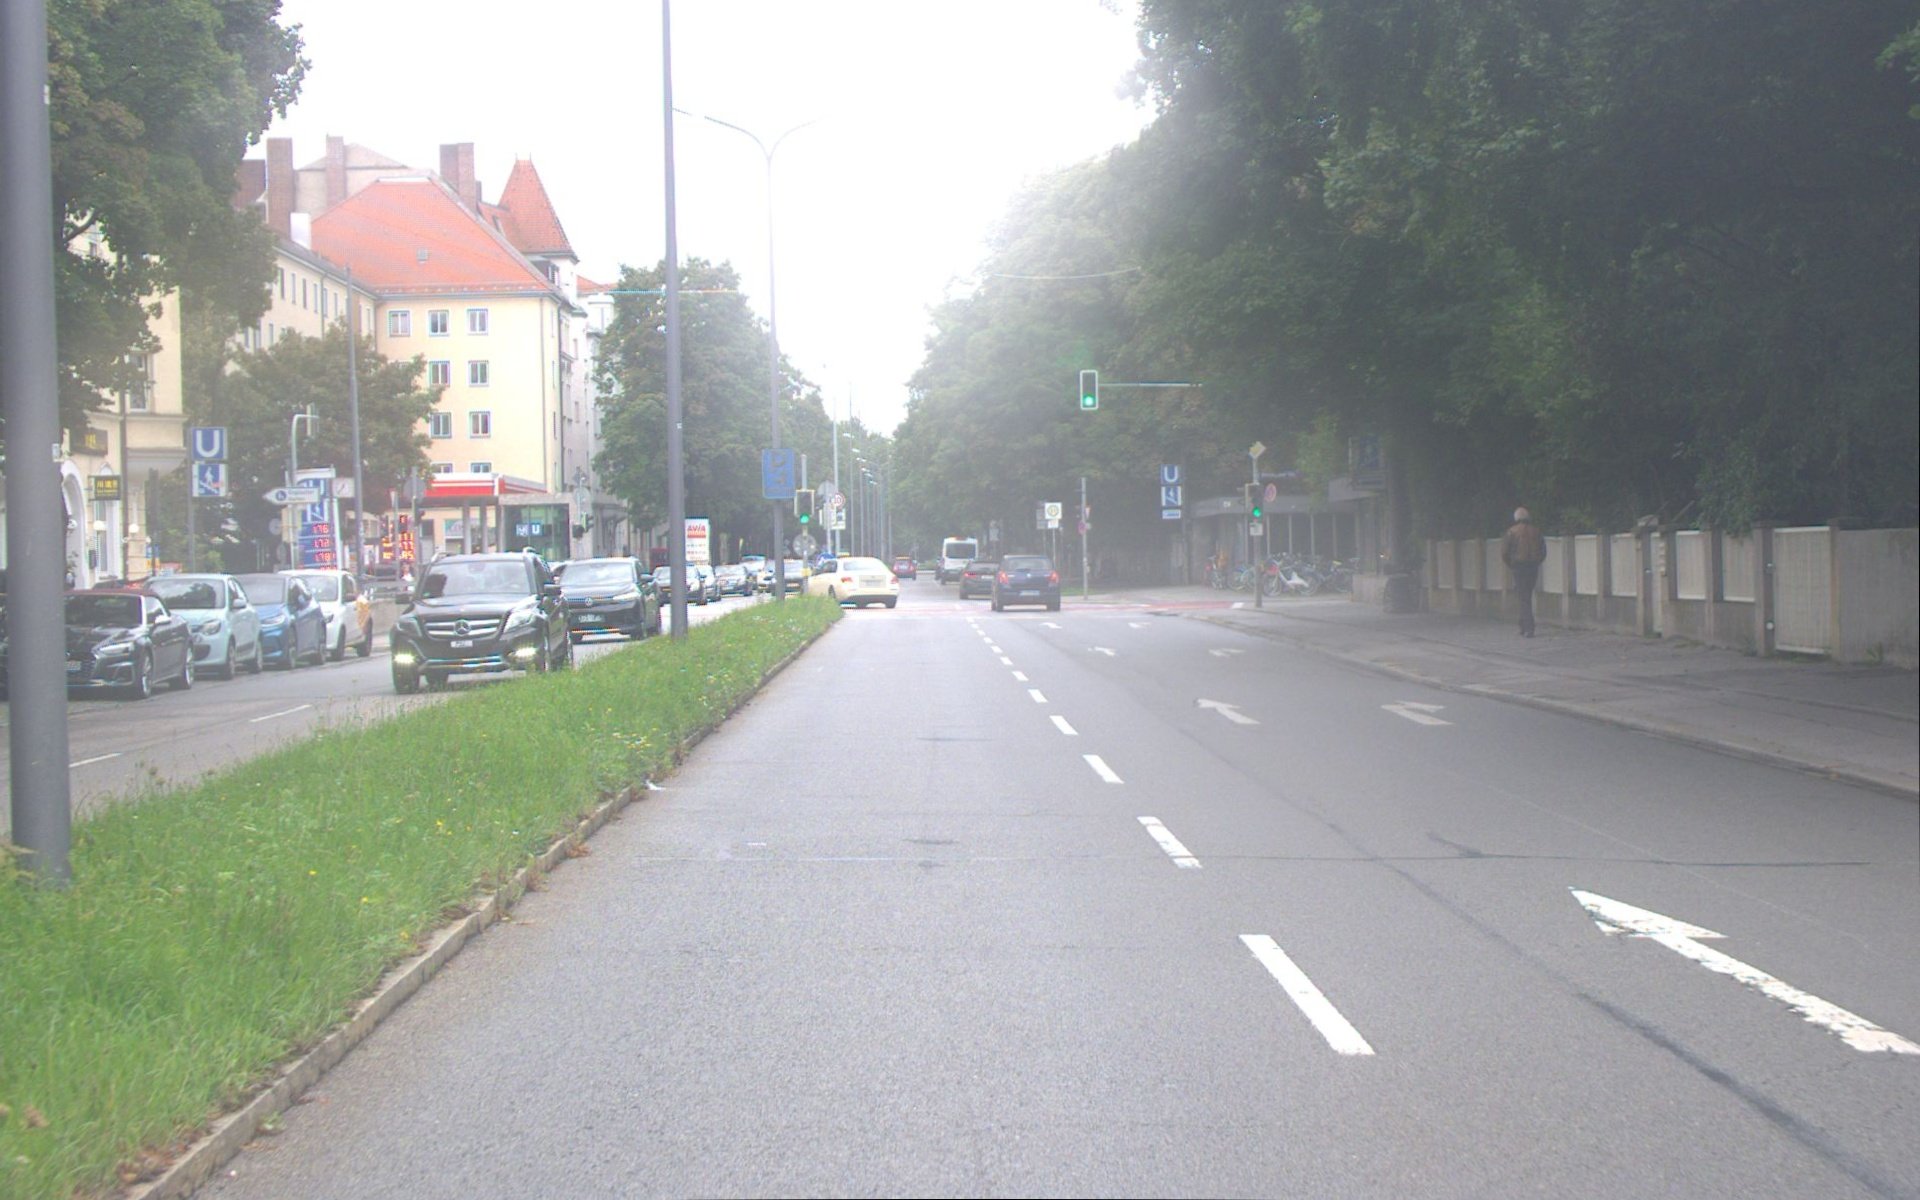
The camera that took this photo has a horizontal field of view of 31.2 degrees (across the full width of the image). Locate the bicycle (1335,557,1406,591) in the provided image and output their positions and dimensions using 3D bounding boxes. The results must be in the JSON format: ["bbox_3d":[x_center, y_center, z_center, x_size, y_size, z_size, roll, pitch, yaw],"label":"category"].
[{"bbox_3d":[12.666,-0.816,106.107,2.143,1.011,0.634,-1,1,8],"label":"bicycle"}]

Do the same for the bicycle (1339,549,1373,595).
[{"bbox_3d":[9.693,-0.677,84.183,0.599,1.117,1.890,-1,0,0],"label":"bicycle"}]

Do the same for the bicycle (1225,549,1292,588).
[{"bbox_3d":[9.696,-1.013,111.660,2.143,1.214,0.603,-1,1,8],"label":"bicycle"}]

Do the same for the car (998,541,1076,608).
[{"bbox_3d":[1.986,-0.697,90.035,1.857,1.678,4.000,-1,1,-1],"label":"car"}]

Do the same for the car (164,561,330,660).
[{"bbox_3d":[-11.499,0.139,55.712,1.810,1.502,4.291,-1,1,-1],"label":"car"}]

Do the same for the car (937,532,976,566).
[{"bbox_3d":[-0.211,-2.739,184.932,1.993,1.750,4.000,-1,1,-1],"label":"car"}]

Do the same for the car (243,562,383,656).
[{"bbox_3d":[-11.384,0.132,60.696,1.649,1.579,3.790,-1,1,1],"label":"car"}]

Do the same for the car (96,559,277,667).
[{"bbox_3d":[-11.505,0.164,51.366,1.810,1.502,3.960,-1,1,-1],"label":"car"}]

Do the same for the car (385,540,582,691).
[{"bbox_3d":[-5.781,0.146,42.146,1.769,1.673,4.369,-3,1,-1],"label":"car"}]

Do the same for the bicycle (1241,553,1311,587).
[{"bbox_3d":[9.917,-0.944,107.892,2.143,1.011,0.603,-1,1,8],"label":"bicycle"}]

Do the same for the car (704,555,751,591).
[{"bbox_3d":[-9.900,-1.156,146.602,1.759,1.455,4.000,-1,1,-1],"label":"car"}]

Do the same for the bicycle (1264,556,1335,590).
[{"bbox_3d":[10.436,-0.837,105.719,2.143,1.011,0.634,-1,1,8],"label":"bicycle"}]

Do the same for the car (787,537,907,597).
[{"bbox_3d":[-3.255,-0.942,97.993,1.778,1.641,4.782,-1,1,-23],"label":"car"}]

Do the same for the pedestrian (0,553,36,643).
[{"bbox_3d":[-17.937,-0.042,65.156,0.591,1.691,0.946,-1,1,-28],"label":"pedestrian"}]

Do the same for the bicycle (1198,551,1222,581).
[{"bbox_3d":[8.497,-1.170,116.905,0.556,1.011,2.016,-1,1,-3],"label":"bicycle"}]

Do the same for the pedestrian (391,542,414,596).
[{"bbox_3d":[-17.426,-0.972,107.407,0.534,1.689,0.577,-1,1,8],"label":"pedestrian"}]

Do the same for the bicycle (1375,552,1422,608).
[{"bbox_3d":[8.802,-0.413,69.037,0.622,1.087,2.026,-1,1,-1],"label":"bicycle"}]

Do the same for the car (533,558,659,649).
[{"bbox_3d":[-6.962,0.034,66.159,1.875,1.579,4.621,-3,1,0],"label":"car"}]

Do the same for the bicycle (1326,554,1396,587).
[{"bbox_3d":[12.558,-0.926,107.589,2.143,1.011,0.634,-1,1,8],"label":"bicycle"}]

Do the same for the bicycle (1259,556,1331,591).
[{"bbox_3d":[10.244,-0.814,105.094,2.143,1.011,0.603,-1,1,8],"label":"bicycle"}]

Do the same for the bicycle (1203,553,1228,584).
[{"bbox_3d":[8.481,-1.040,114.173,0.556,1.011,2.016,-1,1,-3],"label":"bicycle"}]

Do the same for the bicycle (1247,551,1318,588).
[{"bbox_3d":[10.056,-0.944,107.177,2.143,1.097,0.603,-1,1,8],"label":"bicycle"}]

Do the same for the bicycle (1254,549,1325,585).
[{"bbox_3d":[10.200,-1.019,106.522,2.143,1.067,0.603,-1,1,8],"label":"bicycle"}]

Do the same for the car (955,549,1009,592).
[{"bbox_3d":[0.738,-1.029,118.701,1.779,1.469,3.893,0,1,-1],"label":"car"}]

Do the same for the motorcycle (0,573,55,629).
[{"bbox_3d":[-19.520,0.024,70.311,0.609,1.127,1.982,0,0,40],"label":"motorcycle"}]

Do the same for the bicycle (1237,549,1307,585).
[{"bbox_3d":[9.866,-1.034,108.620,2.143,1.082,0.603,-1,1,8],"label":"bicycle"}]

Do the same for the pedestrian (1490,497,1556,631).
[{"bbox_3d":[8.290,-0.530,50.644,0.777,1.935,0.802,-2,1,0],"label":"pedestrian"}]

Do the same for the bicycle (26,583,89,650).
[{"bbox_3d":[-15.475,0.276,58.947,0.457,1.111,1.966,-2,1,-32],"label":"bicycle"}]

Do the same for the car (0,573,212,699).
[{"bbox_3d":[-11.164,0.426,44.881,1.810,1.502,4.646,-1,1,-1],"label":"car"}]
